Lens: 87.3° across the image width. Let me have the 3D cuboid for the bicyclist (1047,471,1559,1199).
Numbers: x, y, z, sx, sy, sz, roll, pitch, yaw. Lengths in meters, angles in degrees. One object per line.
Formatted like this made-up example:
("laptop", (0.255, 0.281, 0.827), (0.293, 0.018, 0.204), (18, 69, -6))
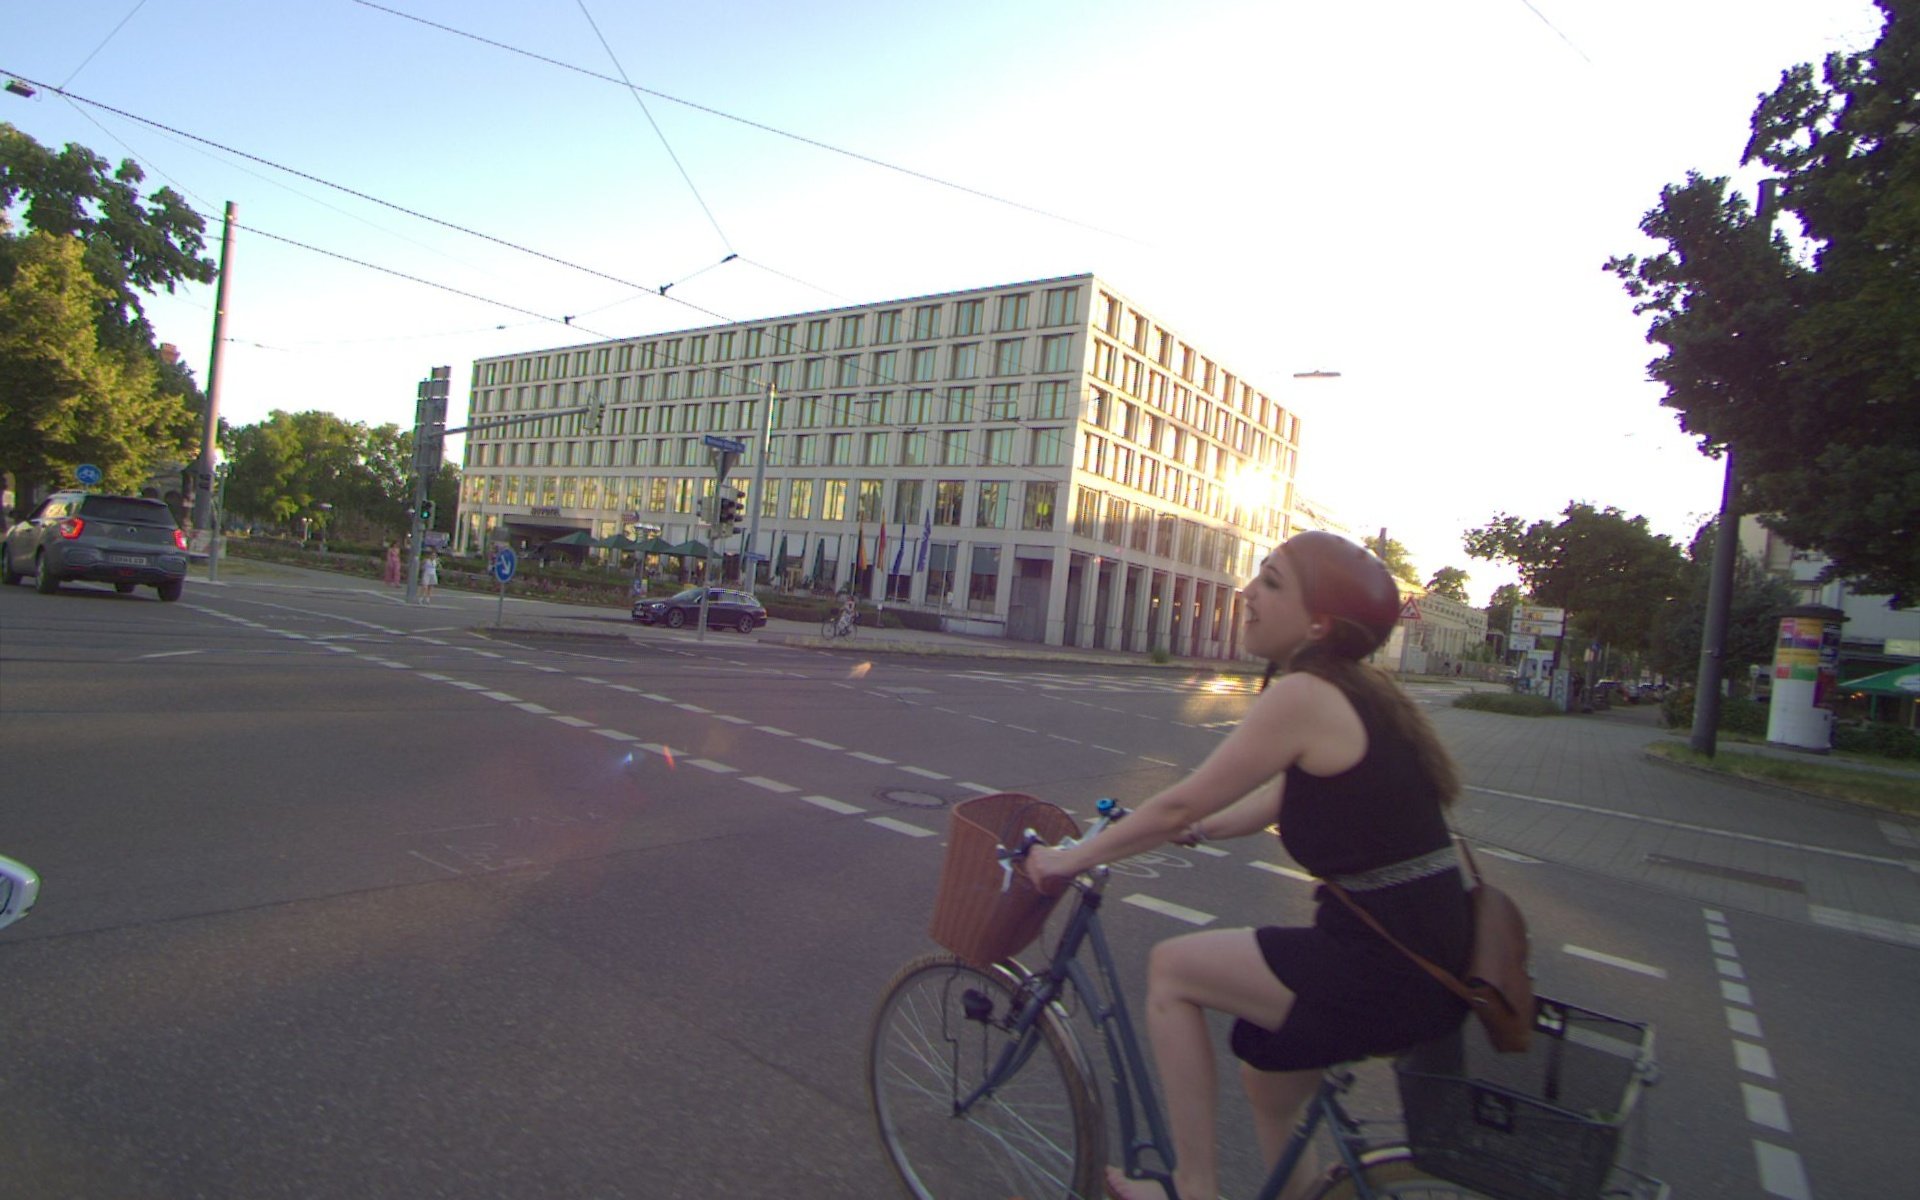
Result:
("bicyclist", (0.610, 0.647, 1.812), (0.588, 1.656, 0.608), (6, 1, 38))

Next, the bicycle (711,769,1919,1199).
("bicycle", (0.446, 1.087, 1.915), (2.056, 1.128, 0.607), (6, 0, 39))

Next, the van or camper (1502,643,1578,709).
("van or camper", (27.128, 3.572, 47.010), (2.082, 2.714, 4.689), (6, 0, 40))

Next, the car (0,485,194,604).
("car", (-14.610, -0.968, 16.907), (4.028, 1.625, 1.692), (6, 0, 38))

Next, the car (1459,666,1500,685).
("car", (58.099, 8.428, 112.511), (3.753, 1.669, 1.856), (6, 0, 39))

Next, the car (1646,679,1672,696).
("car", (74.587, 9.322, 107.316), (1.700, 1.506, 3.789), (7, 0, 42))

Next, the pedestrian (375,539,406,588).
("pedestrian", (-20.540, -1.305, 36.291), (0.715, 1.646, 0.735), (6, 1, -19))

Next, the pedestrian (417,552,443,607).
("pedestrian", (-16.522, -0.629, 31.372), (0.532, 1.646, 0.622), (6, 1, -34))

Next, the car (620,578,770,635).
("car", (-9.126, 0.261, 34.969), (1.792, 1.541, 4.787), (4, -2, 41))

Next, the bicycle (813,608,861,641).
("bicycle", (-4.586, 0.933, 37.670), (0.533, 1.064, 1.751), (6, 0, 44))

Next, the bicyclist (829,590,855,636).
("bicyclist", (-4.430, 0.488, 37.752), (0.534, 1.656, 0.593), (7, 1, 45))
